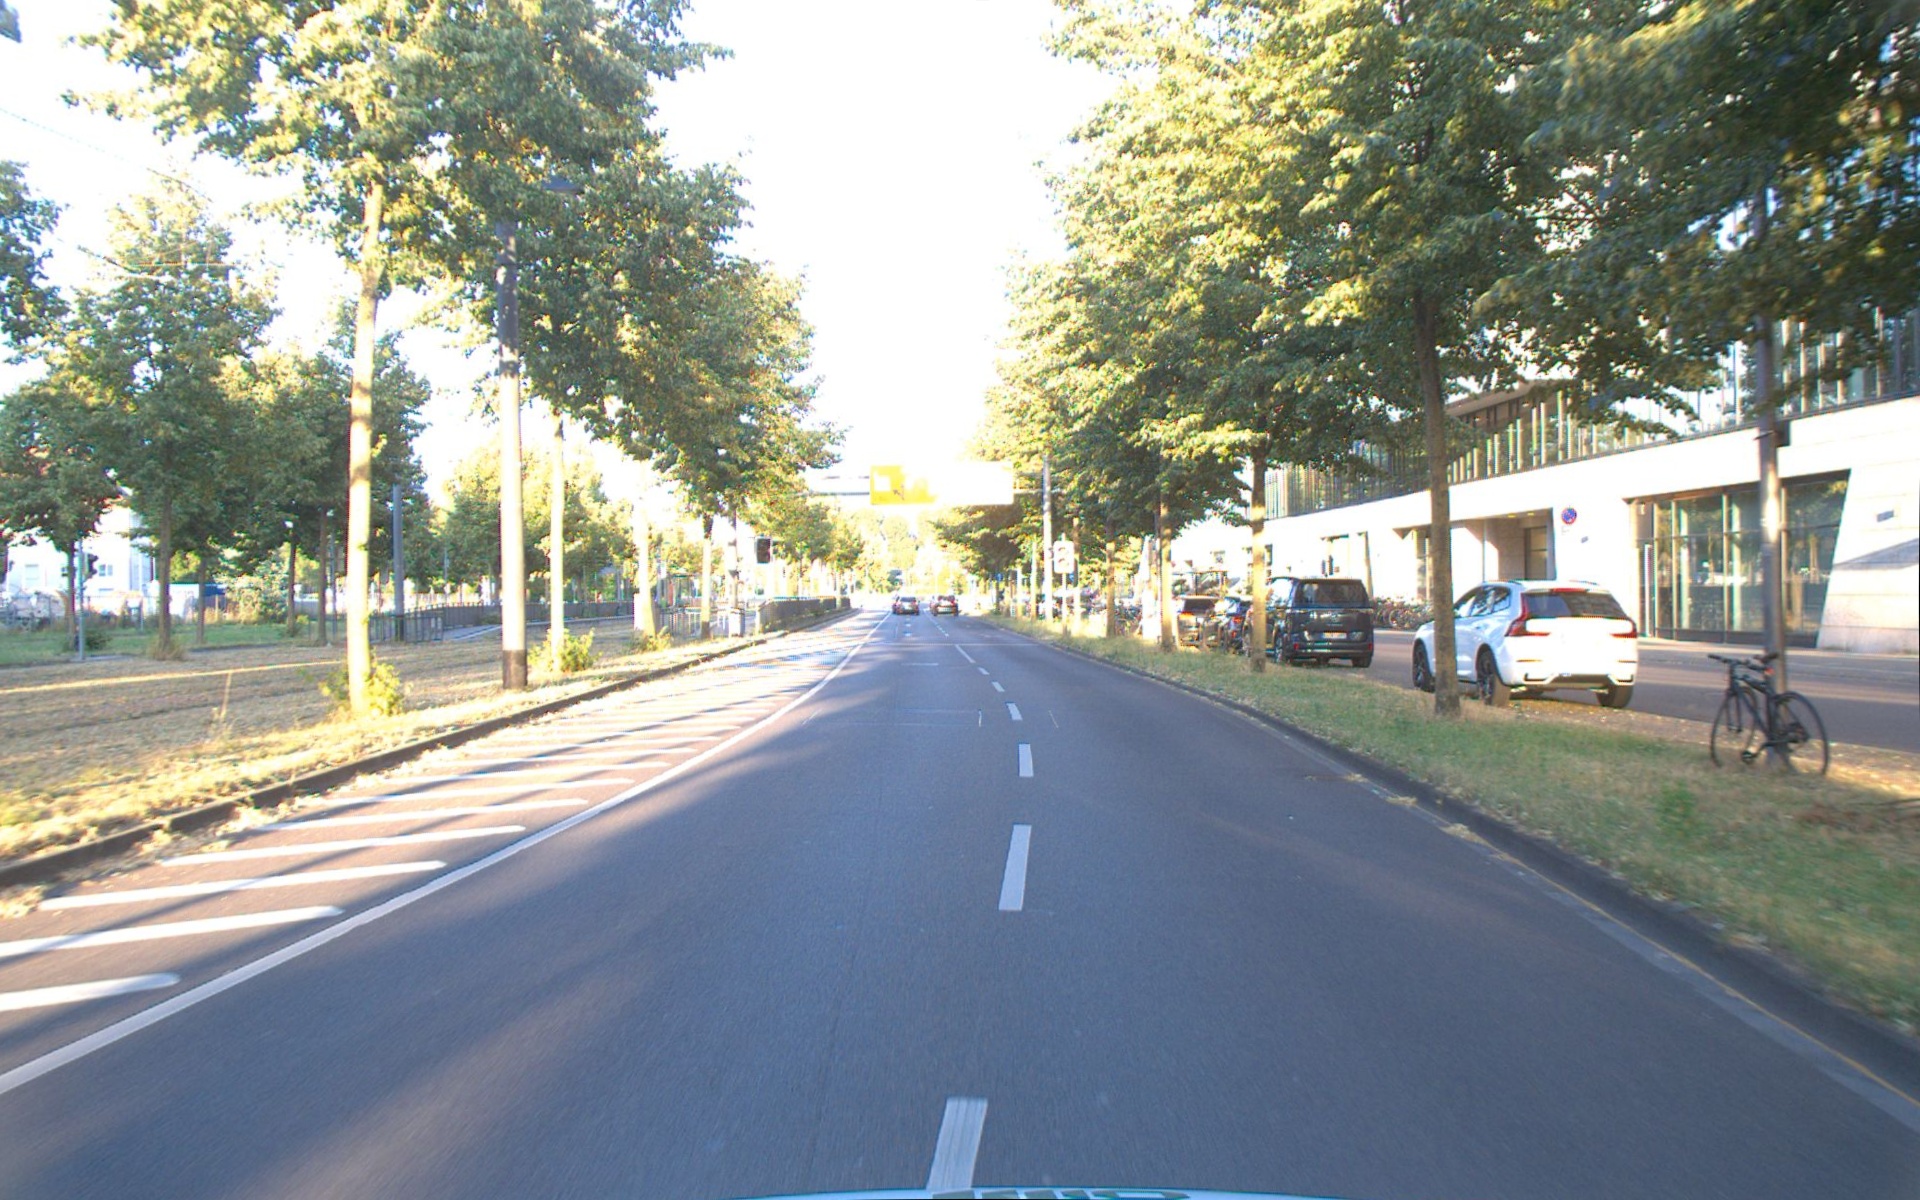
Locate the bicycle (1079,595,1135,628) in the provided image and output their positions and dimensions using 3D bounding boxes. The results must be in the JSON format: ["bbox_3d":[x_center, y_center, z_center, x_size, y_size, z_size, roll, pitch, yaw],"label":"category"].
[{"bbox_3d":[5.311,0.419,59.855,1.908,1.072,0.543,3,0,-13],"label":"bicycle"}]

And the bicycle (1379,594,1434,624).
[{"bbox_3d":[15.559,0.315,57.626,1.793,1.004,0.404,-1,0,-2],"label":"bicycle"}]

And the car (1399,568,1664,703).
[{"bbox_3d":[7.845,0.439,23.266,1.953,1.671,4.877,-1,0,-1],"label":"car"}]

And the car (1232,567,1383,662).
[{"bbox_3d":[7.380,0.288,35.612,1.954,1.884,4.661,-1,0,-4],"label":"car"}]

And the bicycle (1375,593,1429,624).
[{"bbox_3d":[15.745,0.305,58.939,1.793,1.075,0.404,-1,0,-2],"label":"bicycle"}]

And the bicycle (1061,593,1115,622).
[{"bbox_3d":[5.238,0.322,67.569,2.102,1.072,0.524,3,0,-9],"label":"bicycle"}]

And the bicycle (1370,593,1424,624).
[{"bbox_3d":[15.704,0.303,59.424,1.793,1.065,0.445,-1,0,-2],"label":"bicycle"}]

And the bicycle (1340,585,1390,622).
[{"bbox_3d":[15.475,0.128,63.208,1.795,1.380,0.503,-1,0,-5],"label":"bicycle"}]

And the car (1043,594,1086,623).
[{"bbox_3d":[5.520,0.451,88.109,1.742,1.498,4.285,-1,0,-4],"label":"car"}]

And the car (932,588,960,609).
[{"bbox_3d":[-0.999,-0.111,119.066,1.873,1.512,3.998,-1,0,-3],"label":"car"}]

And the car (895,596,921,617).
[{"bbox_3d":[-3.934,0.462,125.297,1.873,1.512,3.998,-1,0,-3],"label":"car"}]

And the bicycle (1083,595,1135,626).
[{"bbox_3d":[5.586,0.391,61.951,1.906,1.072,0.314,3,0,-10],"label":"bicycle"}]

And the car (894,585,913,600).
[{"bbox_3d":[-5.691,-0.769,166.949,1.873,1.512,3.998,-1,0,-3],"label":"car"}]

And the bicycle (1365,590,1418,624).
[{"bbox_3d":[15.651,0.241,59.937,1.793,1.197,0.445,-1,0,-2],"label":"bicycle"}]

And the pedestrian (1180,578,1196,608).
[{"bbox_3d":[13.678,-0.431,99.202,0.696,1.767,0.682,-1,0,-32],"label":"pedestrian"}]

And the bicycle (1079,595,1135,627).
[{"bbox_3d":[5.383,0.410,60.543,1.906,1.072,0.544,3,0,-10],"label":"bicycle"}]

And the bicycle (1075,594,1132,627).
[{"bbox_3d":[5.052,0.384,58.407,1.911,1.072,0.542,3,0,-17],"label":"bicycle"}]

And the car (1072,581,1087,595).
[{"bbox_3d":[15.700,-1.560,217.855,1.951,1.758,4.002,-1,0,4],"label":"car"}]

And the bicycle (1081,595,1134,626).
[{"bbox_3d":[5.561,0.397,62.305,1.906,1.072,0.347,3,0,-10],"label":"bicycle"}]

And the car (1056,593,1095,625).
[{"bbox_3d":[5.626,0.443,81.120,1.543,1.498,3.880,-1,0,-1],"label":"car"}]

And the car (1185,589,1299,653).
[{"bbox_3d":[7.027,0.495,41.606,1.774,1.497,4.661,-1,0,-4],"label":"car"}]

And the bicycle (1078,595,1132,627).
[{"bbox_3d":[5.337,0.399,61.073,1.906,1.072,0.408,3,0,-10],"label":"bicycle"}]

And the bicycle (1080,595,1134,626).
[{"bbox_3d":[5.461,0.380,61.530,1.906,1.072,0.408,3,0,-10],"label":"bicycle"}]

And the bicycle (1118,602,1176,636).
[{"bbox_3d":[6.491,0.665,57.343,1.903,1.072,0.545,3,0,-3],"label":"bicycle"}]

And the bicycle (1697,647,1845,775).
[{"bbox_3d":[6.017,0.795,12.345,0.309,0.838,1.552,-1,0,-1],"label":"bicycle"}]

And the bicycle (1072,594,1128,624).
[{"bbox_3d":[5.568,0.354,65.580,2.102,1.072,0.570,3,0,-9],"label":"bicycle"}]

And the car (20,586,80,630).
[{"bbox_3d":[-48.552,0.434,88.339,2.385,2.263,5.870,-1,0,-25],"label":"car"}]

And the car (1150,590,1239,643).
[{"bbox_3d":[6.775,0.465,48.228,1.831,1.436,4.645,-1,0,-1],"label":"car"}]

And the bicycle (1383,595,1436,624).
[{"bbox_3d":[15.527,0.343,57.184,1.708,0.969,0.404,-1,0,-2],"label":"bicycle"}]

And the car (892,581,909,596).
[{"bbox_3d":[-6.606,-1.266,183.241,1.873,1.512,3.998,-1,0,-3],"label":"car"}]

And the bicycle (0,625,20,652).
[{"bbox_3d":[-37.488,1.492,64.455,0.607,1.029,2.081,-1,0,-4],"label":"bicycle"}]

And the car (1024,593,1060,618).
[{"bbox_3d":[5.089,0.343,103.189,1.722,1.491,4.155,-1,0,-4],"label":"car"}]

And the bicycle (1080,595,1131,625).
[{"bbox_3d":[5.679,0.384,64.428,1.904,1.072,0.404,3,0,-5],"label":"bicycle"}]

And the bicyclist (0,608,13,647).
[{"bbox_3d":[-37.497,1.080,64.503,0.607,1.482,0.937,-1,0,-4],"label":"bicyclist"}]

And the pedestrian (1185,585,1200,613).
[{"bbox_3d":[14.591,-0.038,103.840,0.625,1.748,0.695,-1,0,-22],"label":"pedestrian"}]

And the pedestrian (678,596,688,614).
[{"bbox_3d":[-20.527,0.348,122.589,0.602,1.342,0.744,-1,0,-5],"label":"pedestrian"}]

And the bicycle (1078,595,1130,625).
[{"bbox_3d":[5.472,0.382,62.802,1.906,1.072,0.413,3,0,-10],"label":"bicycle"}]

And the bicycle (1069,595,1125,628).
[{"bbox_3d":[4.884,0.402,59.005,1.911,1.072,0.542,3,0,-17],"label":"bicycle"}]

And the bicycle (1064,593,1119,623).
[{"bbox_3d":[5.319,0.321,66.965,2.102,1.072,0.570,3,0,-9],"label":"bicycle"}]

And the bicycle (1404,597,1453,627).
[{"bbox_3d":[15.947,0.411,56.311,1.543,1.004,0.404,-1,0,-2],"label":"bicycle"}]
